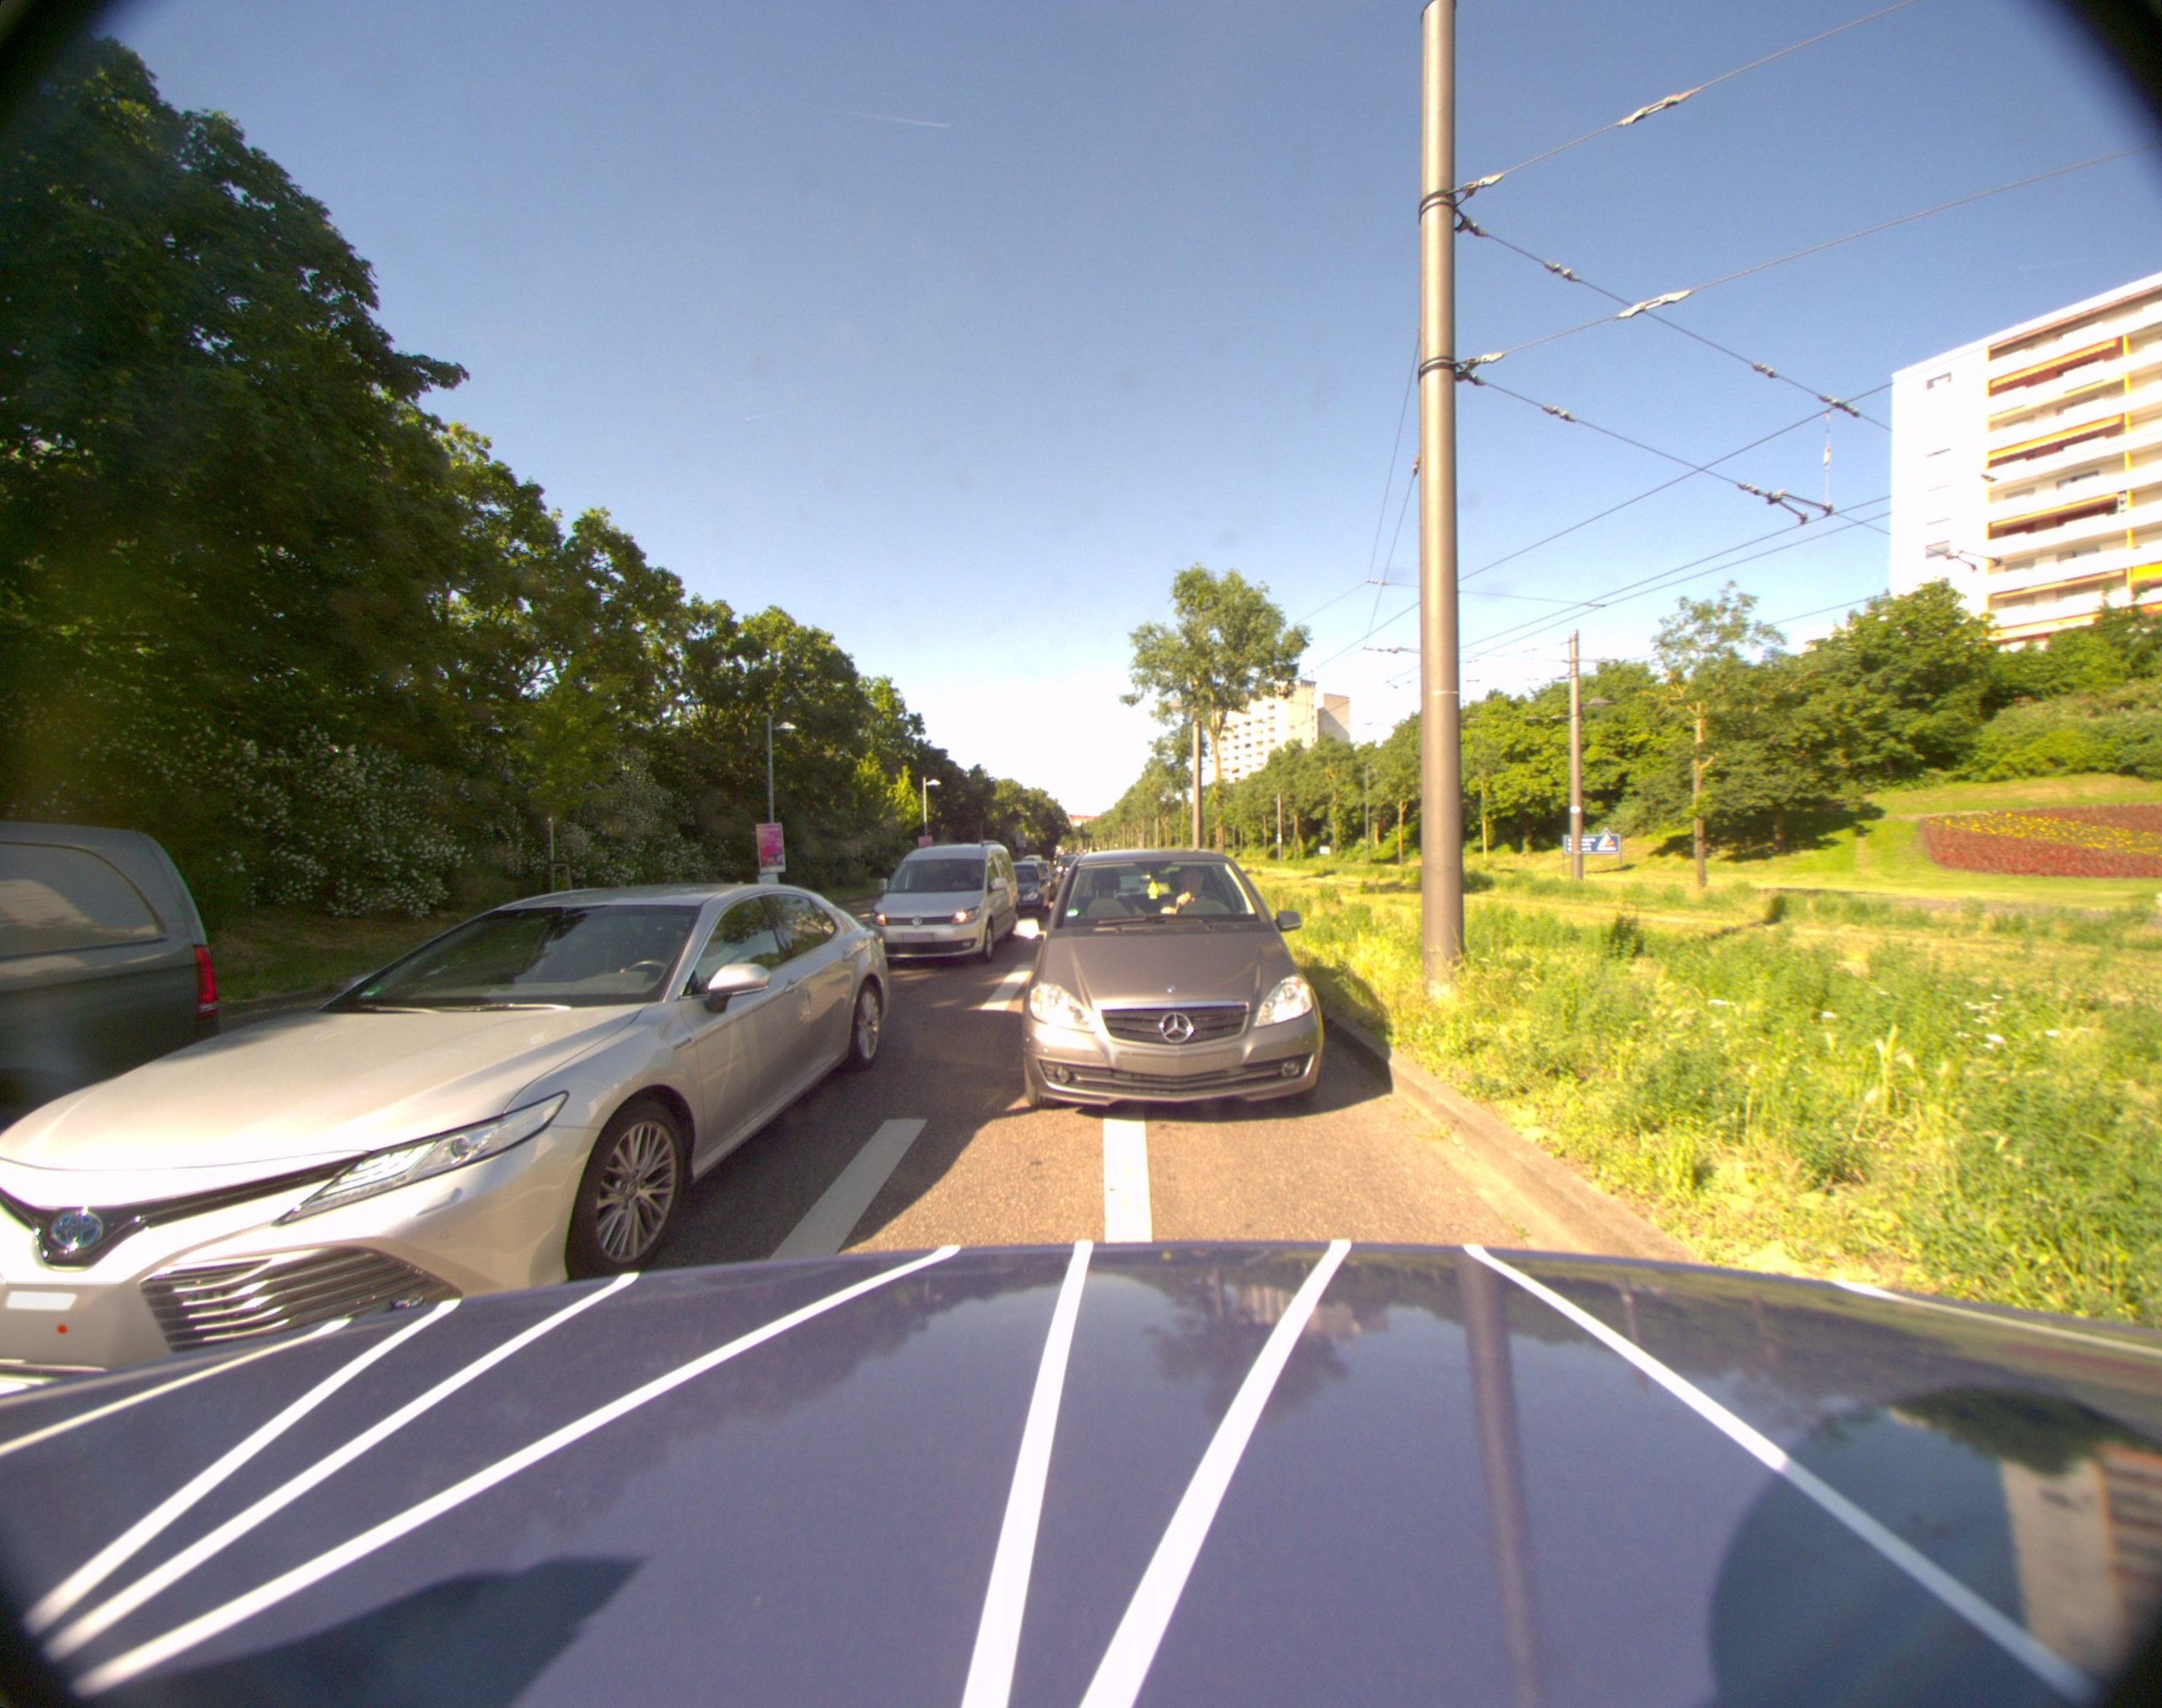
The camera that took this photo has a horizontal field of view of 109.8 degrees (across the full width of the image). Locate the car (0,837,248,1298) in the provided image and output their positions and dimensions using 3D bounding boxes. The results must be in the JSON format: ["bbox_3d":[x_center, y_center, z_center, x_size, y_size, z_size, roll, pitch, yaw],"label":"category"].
[{"bbox_3d":[-5.460,0.893,1.430,1.998,1.882,5.148,-1,0,1],"label":"car"}]

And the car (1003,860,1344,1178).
[{"bbox_3d":[0.518,0.894,6.197,1.777,1.597,4.384,-1,0,1],"label":"car"}]

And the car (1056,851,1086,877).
[{"bbox_3d":[-0.569,0.607,48.466,1.777,1.597,4.384,-1,0,1],"label":"car"}]

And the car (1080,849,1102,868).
[{"bbox_3d":[0.856,0.359,66.020,1.777,1.597,4.384,-1,0,1],"label":"car"}]

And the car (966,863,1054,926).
[{"bbox_3d":[-1.720,0.966,19.706,1.776,1.395,4.067,-1,0,2],"label":"car"}]

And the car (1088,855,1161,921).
[{"bbox_3d":[1.109,0.848,20.978,1.777,1.597,4.384,-1,0,1],"label":"car"}]

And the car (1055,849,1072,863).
[{"bbox_3d":[-2.069,0.208,89.448,1.777,1.597,4.300,-1,0,1],"label":"car"}]

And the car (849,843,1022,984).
[{"bbox_3d":[-2.151,0.793,12.610,1.822,1.893,4.622,-1,0,2],"label":"car"}]

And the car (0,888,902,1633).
[{"bbox_3d":[-2.643,1.044,4.113,2.069,1.451,4.749,-1,0,2],"label":"car"}]

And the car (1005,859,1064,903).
[{"bbox_3d":[-1.606,0.911,27.519,1.776,1.395,4.067,-1,0,2],"label":"car"}]

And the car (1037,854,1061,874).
[{"bbox_3d":[-2.720,0.856,65.816,1.777,1.597,4.384,-1,0,1],"label":"car"}]
